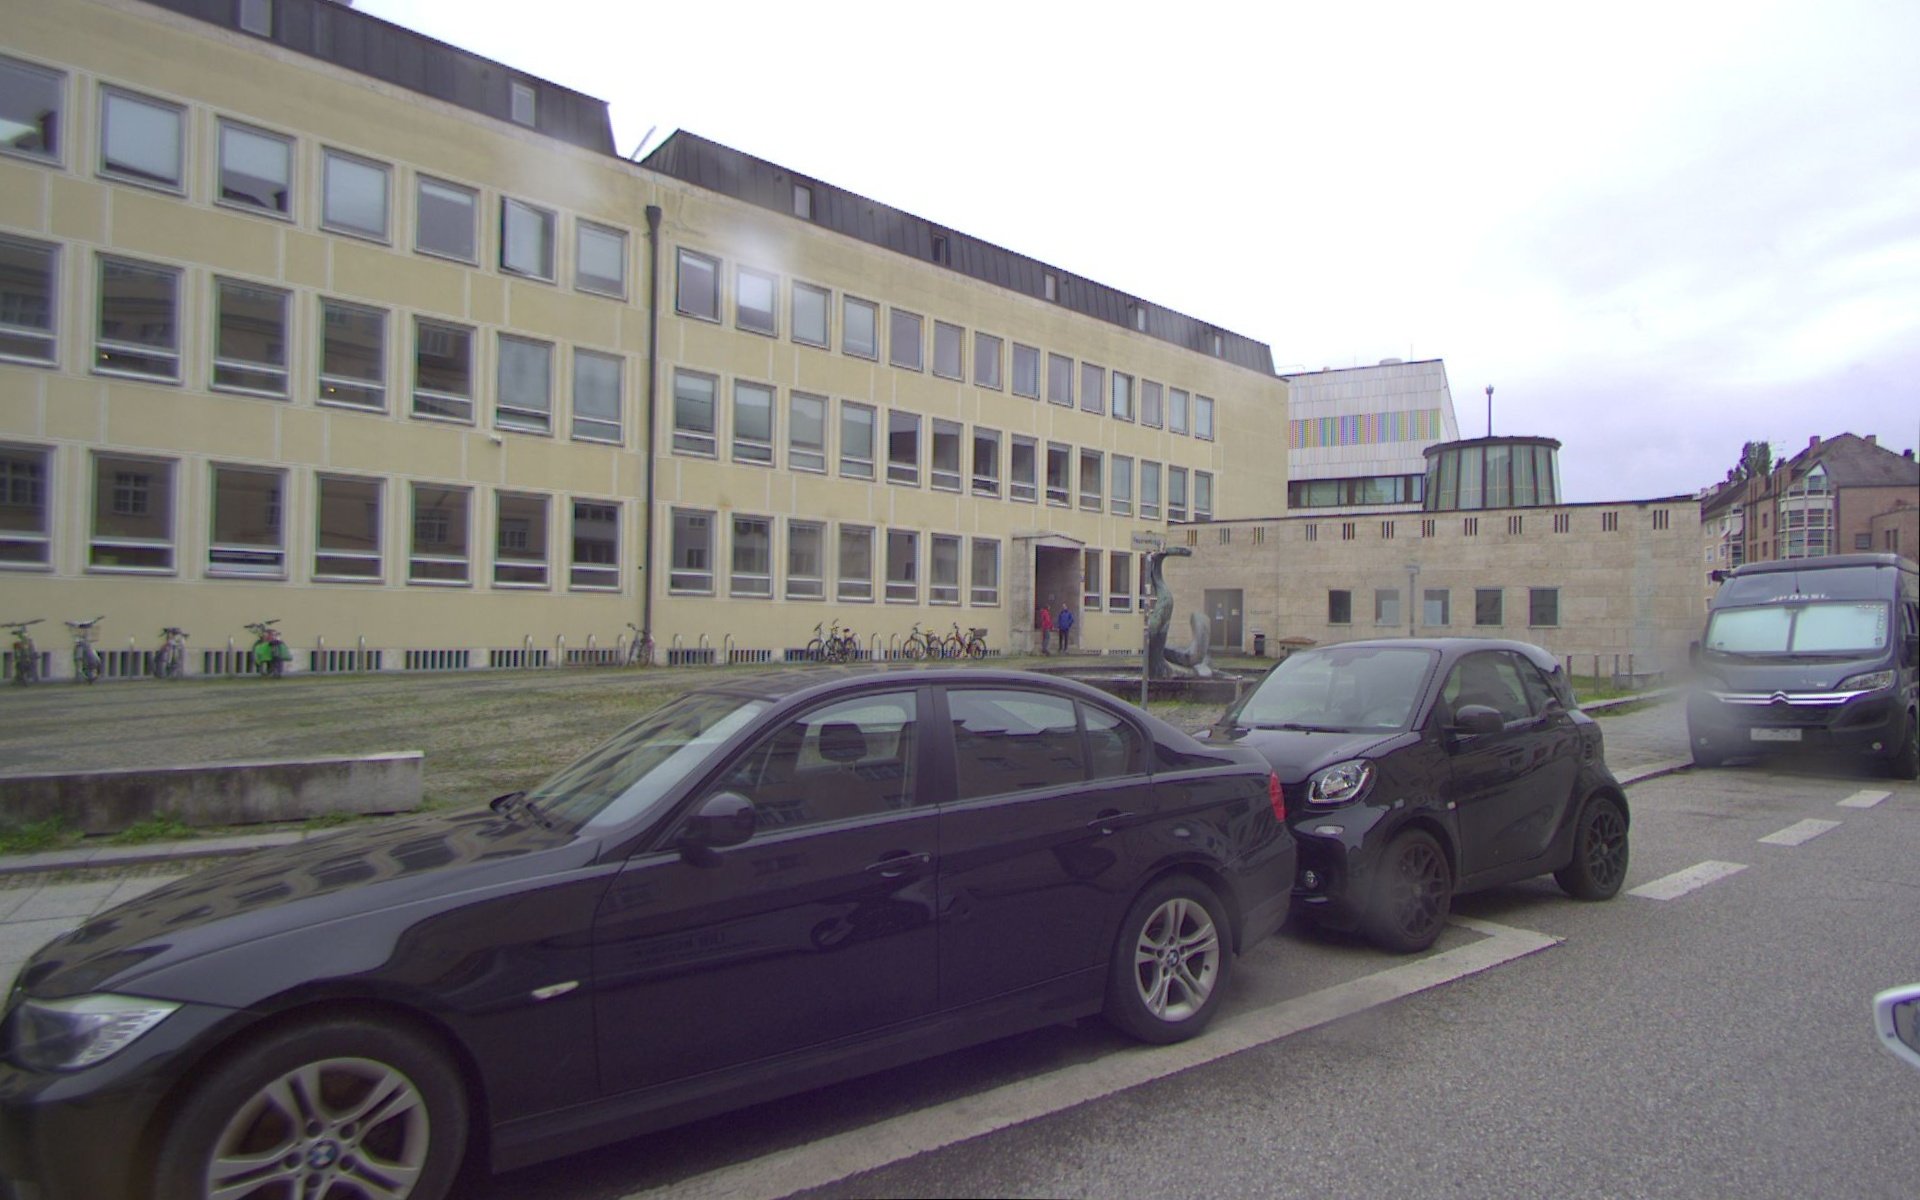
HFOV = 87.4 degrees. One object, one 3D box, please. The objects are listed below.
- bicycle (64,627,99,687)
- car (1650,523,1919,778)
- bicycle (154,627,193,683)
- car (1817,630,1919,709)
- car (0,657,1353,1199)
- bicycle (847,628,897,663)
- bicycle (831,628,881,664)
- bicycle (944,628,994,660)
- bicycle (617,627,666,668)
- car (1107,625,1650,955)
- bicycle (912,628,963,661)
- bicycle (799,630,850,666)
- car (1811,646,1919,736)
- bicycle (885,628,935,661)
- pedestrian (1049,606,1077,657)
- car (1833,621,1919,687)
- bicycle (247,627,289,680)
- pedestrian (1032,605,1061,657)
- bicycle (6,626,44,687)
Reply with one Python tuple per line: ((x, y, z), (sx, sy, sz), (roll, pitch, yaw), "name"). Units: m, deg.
((-15.747, 0.998, 17.991), (0.434, 0.929, 1.883), (2, 0, -42), "bicycle")
((11.212, 0.643, 13.127), (6.163, 2.608, 2.125), (2, -3, -41), "car")
((-14.820, 1.014, 18.906), (0.434, 0.929, 1.883), (2, 0, -42), "bicycle")
((20.886, 1.501, 21.171), (3.902, 1.550, 1.676), (2, 0, 13), "car")
((-0.569, 0.928, 3.808), (4.167, 1.381, 1.712), (2, -5, -33), "car")
((-2.672, 1.361, 30.246), (0.434, 0.929, 1.883), (2, 0, -42), "bicycle")
((-3.074, 1.336, 29.597), (0.528, 0.953, 1.863), (2, 0, -39), "bicycle")
((0.284, 1.418, 32.649), (0.434, 0.929, 1.883), (2, 0, -42), "bicycle")
((-8.140, 1.196, 25.607), (0.434, 0.929, 1.883), (2, 0, -42), "bicycle")
((2.508, 0.947, 6.013), (2.836, 1.478, 1.658), (2, -4, -32), "car")
((-0.720, 1.383, 31.435), (0.434, 0.929, 1.883), (2, 0, -42), "bicycle")
((-3.933, 1.383, 29.006), (0.434, 0.929, 1.883), (2, 0, -42), "bicycle")
((16.514, 1.547, 17.814), (1.809, 1.405, 4.116), (-5, -5, 44), "car")
((-1.571, 1.383, 31.301), (0.434, 0.929, 1.883), (2, 0, -42), "bicycle")
((3.692, 1.118, 35.978), (0.706, 1.767, 0.643), (2, 0, 44), "pedestrian")
((27.520, 1.560, 29.838), (1.968, 1.795, 4.797), (0, -1, 36), "car")
((-13.724, 1.037, 19.900), (0.434, 0.929, 1.883), (2, 0, -42), "bicycle")
((3.053, 1.078, 35.346), (0.706, 1.767, 0.643), (2, 0, 44), "pedestrian")
((-16.271, 0.967, 17.493), (0.434, 0.929, 1.883), (2, 0, -42), "bicycle")
